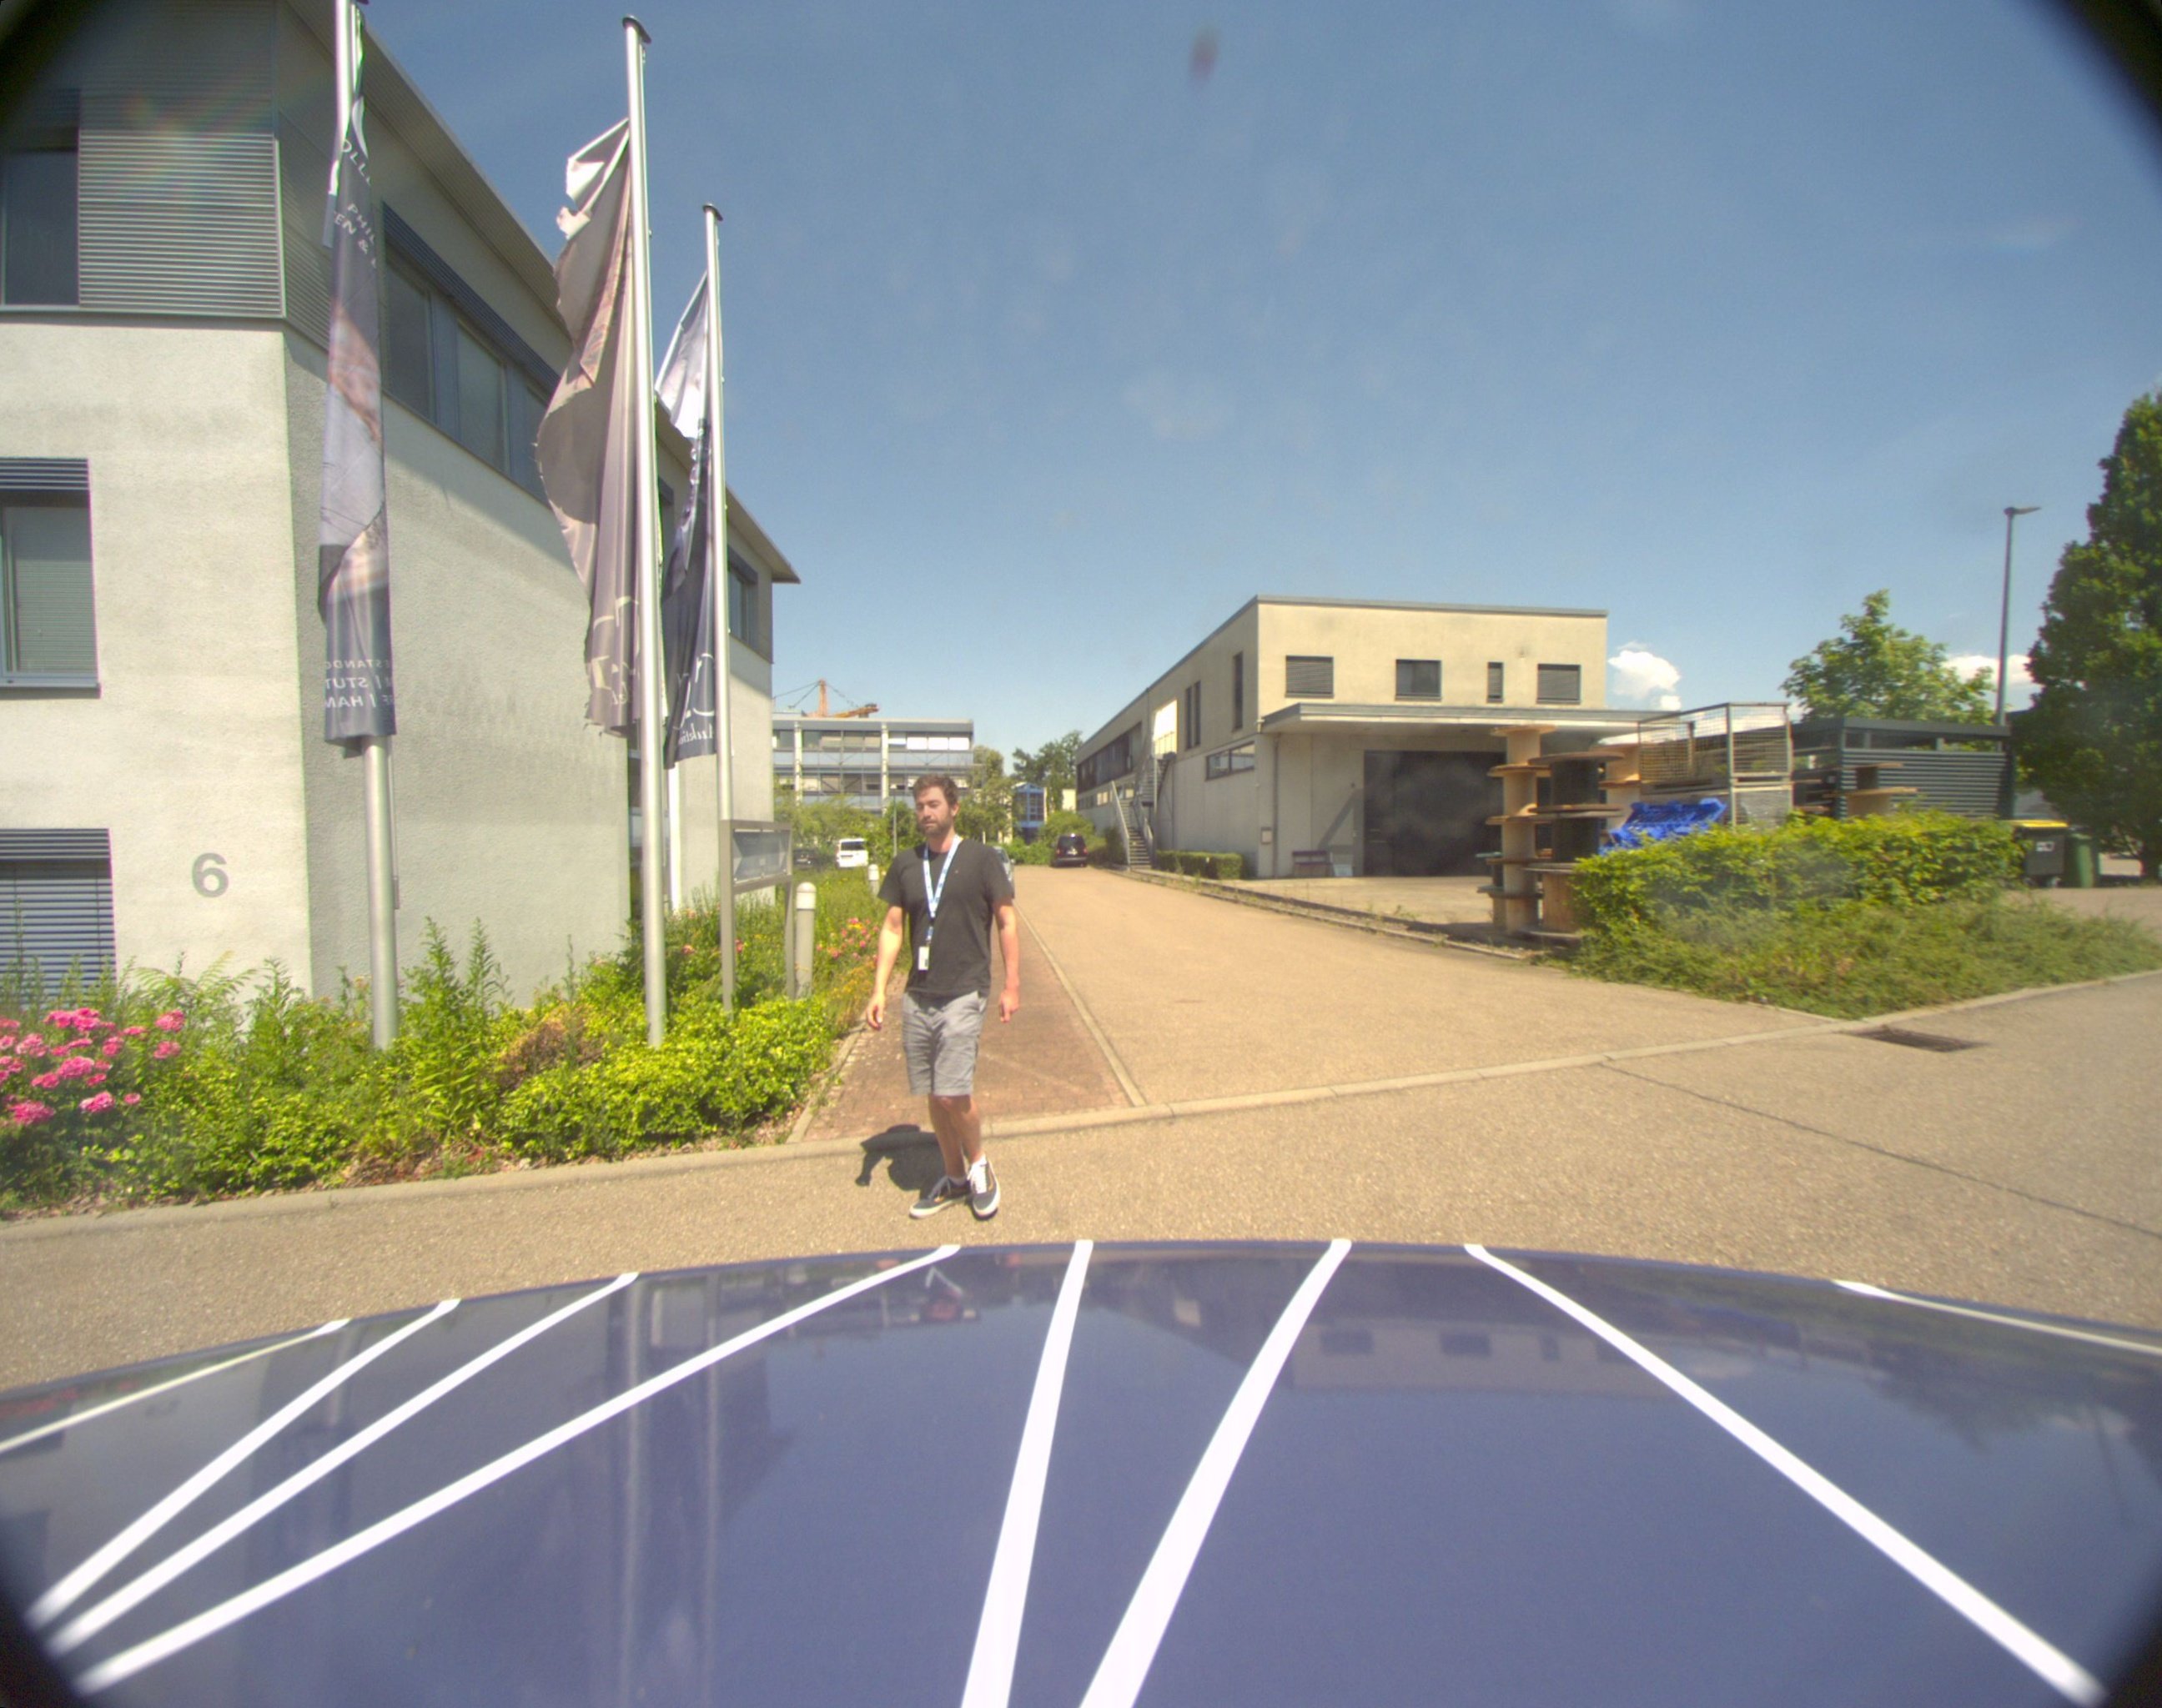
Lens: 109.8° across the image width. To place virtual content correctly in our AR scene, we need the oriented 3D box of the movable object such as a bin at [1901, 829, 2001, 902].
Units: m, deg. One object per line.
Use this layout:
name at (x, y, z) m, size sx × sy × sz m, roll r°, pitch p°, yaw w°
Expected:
movable object such as a bin at (16.708, 0.203, 14.606) m, size 1.072 × 1.329 × 0.759 m, roll -2°, pitch 2°, yaw -3°

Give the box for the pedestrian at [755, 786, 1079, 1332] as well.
pedestrian at (-0.597, 0.677, 3.066) m, size 0.858 × 1.810 × 0.906 m, roll -1°, pitch 2°, yaw 21°

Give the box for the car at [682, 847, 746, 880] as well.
car at (-19.176, 0.445, 39.880) m, size 1.788 × 1.537 × 3.996 m, roll -2°, pitch 2°, yaw -7°

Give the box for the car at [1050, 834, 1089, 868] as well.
car at (-0.708, -0.216, 42.581) m, size 1.788 × 1.794 × 3.996 m, roll -2°, pitch 2°, yaw -6°

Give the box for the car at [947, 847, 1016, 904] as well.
car at (-2.748, 0.548, 21.598) m, size 1.712 × 1.383 × 3.808 m, roll -1°, pitch 2°, yaw -4°

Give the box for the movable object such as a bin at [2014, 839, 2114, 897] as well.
movable object such as a bin at (19.158, 0.262, 14.829) m, size 0.987 × 1.078 × 0.759 m, roll -2°, pitch 2°, yaw -3°

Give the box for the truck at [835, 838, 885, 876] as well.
truck at (-11.633, 0.100, 40.177) m, size 2.000 × 1.883 × 3.996 m, roll -2°, pitch 2°, yaw -9°

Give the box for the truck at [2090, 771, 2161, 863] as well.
truck at (33.862, -1.158, 22.436) m, size 5.697 × 2.657 × 2.416 m, roll -2°, pitch 2°, yaw -8°

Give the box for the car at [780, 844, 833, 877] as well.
car at (-14.538, 0.295, 40.459) m, size 1.788 × 1.537 × 3.996 m, roll -2°, pitch 2°, yaw -7°

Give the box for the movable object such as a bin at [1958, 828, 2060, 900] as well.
movable object such as a bin at (18.048, 0.175, 14.794) m, size 1.072 × 1.329 × 0.759 m, roll -2°, pitch 2°, yaw -3°
